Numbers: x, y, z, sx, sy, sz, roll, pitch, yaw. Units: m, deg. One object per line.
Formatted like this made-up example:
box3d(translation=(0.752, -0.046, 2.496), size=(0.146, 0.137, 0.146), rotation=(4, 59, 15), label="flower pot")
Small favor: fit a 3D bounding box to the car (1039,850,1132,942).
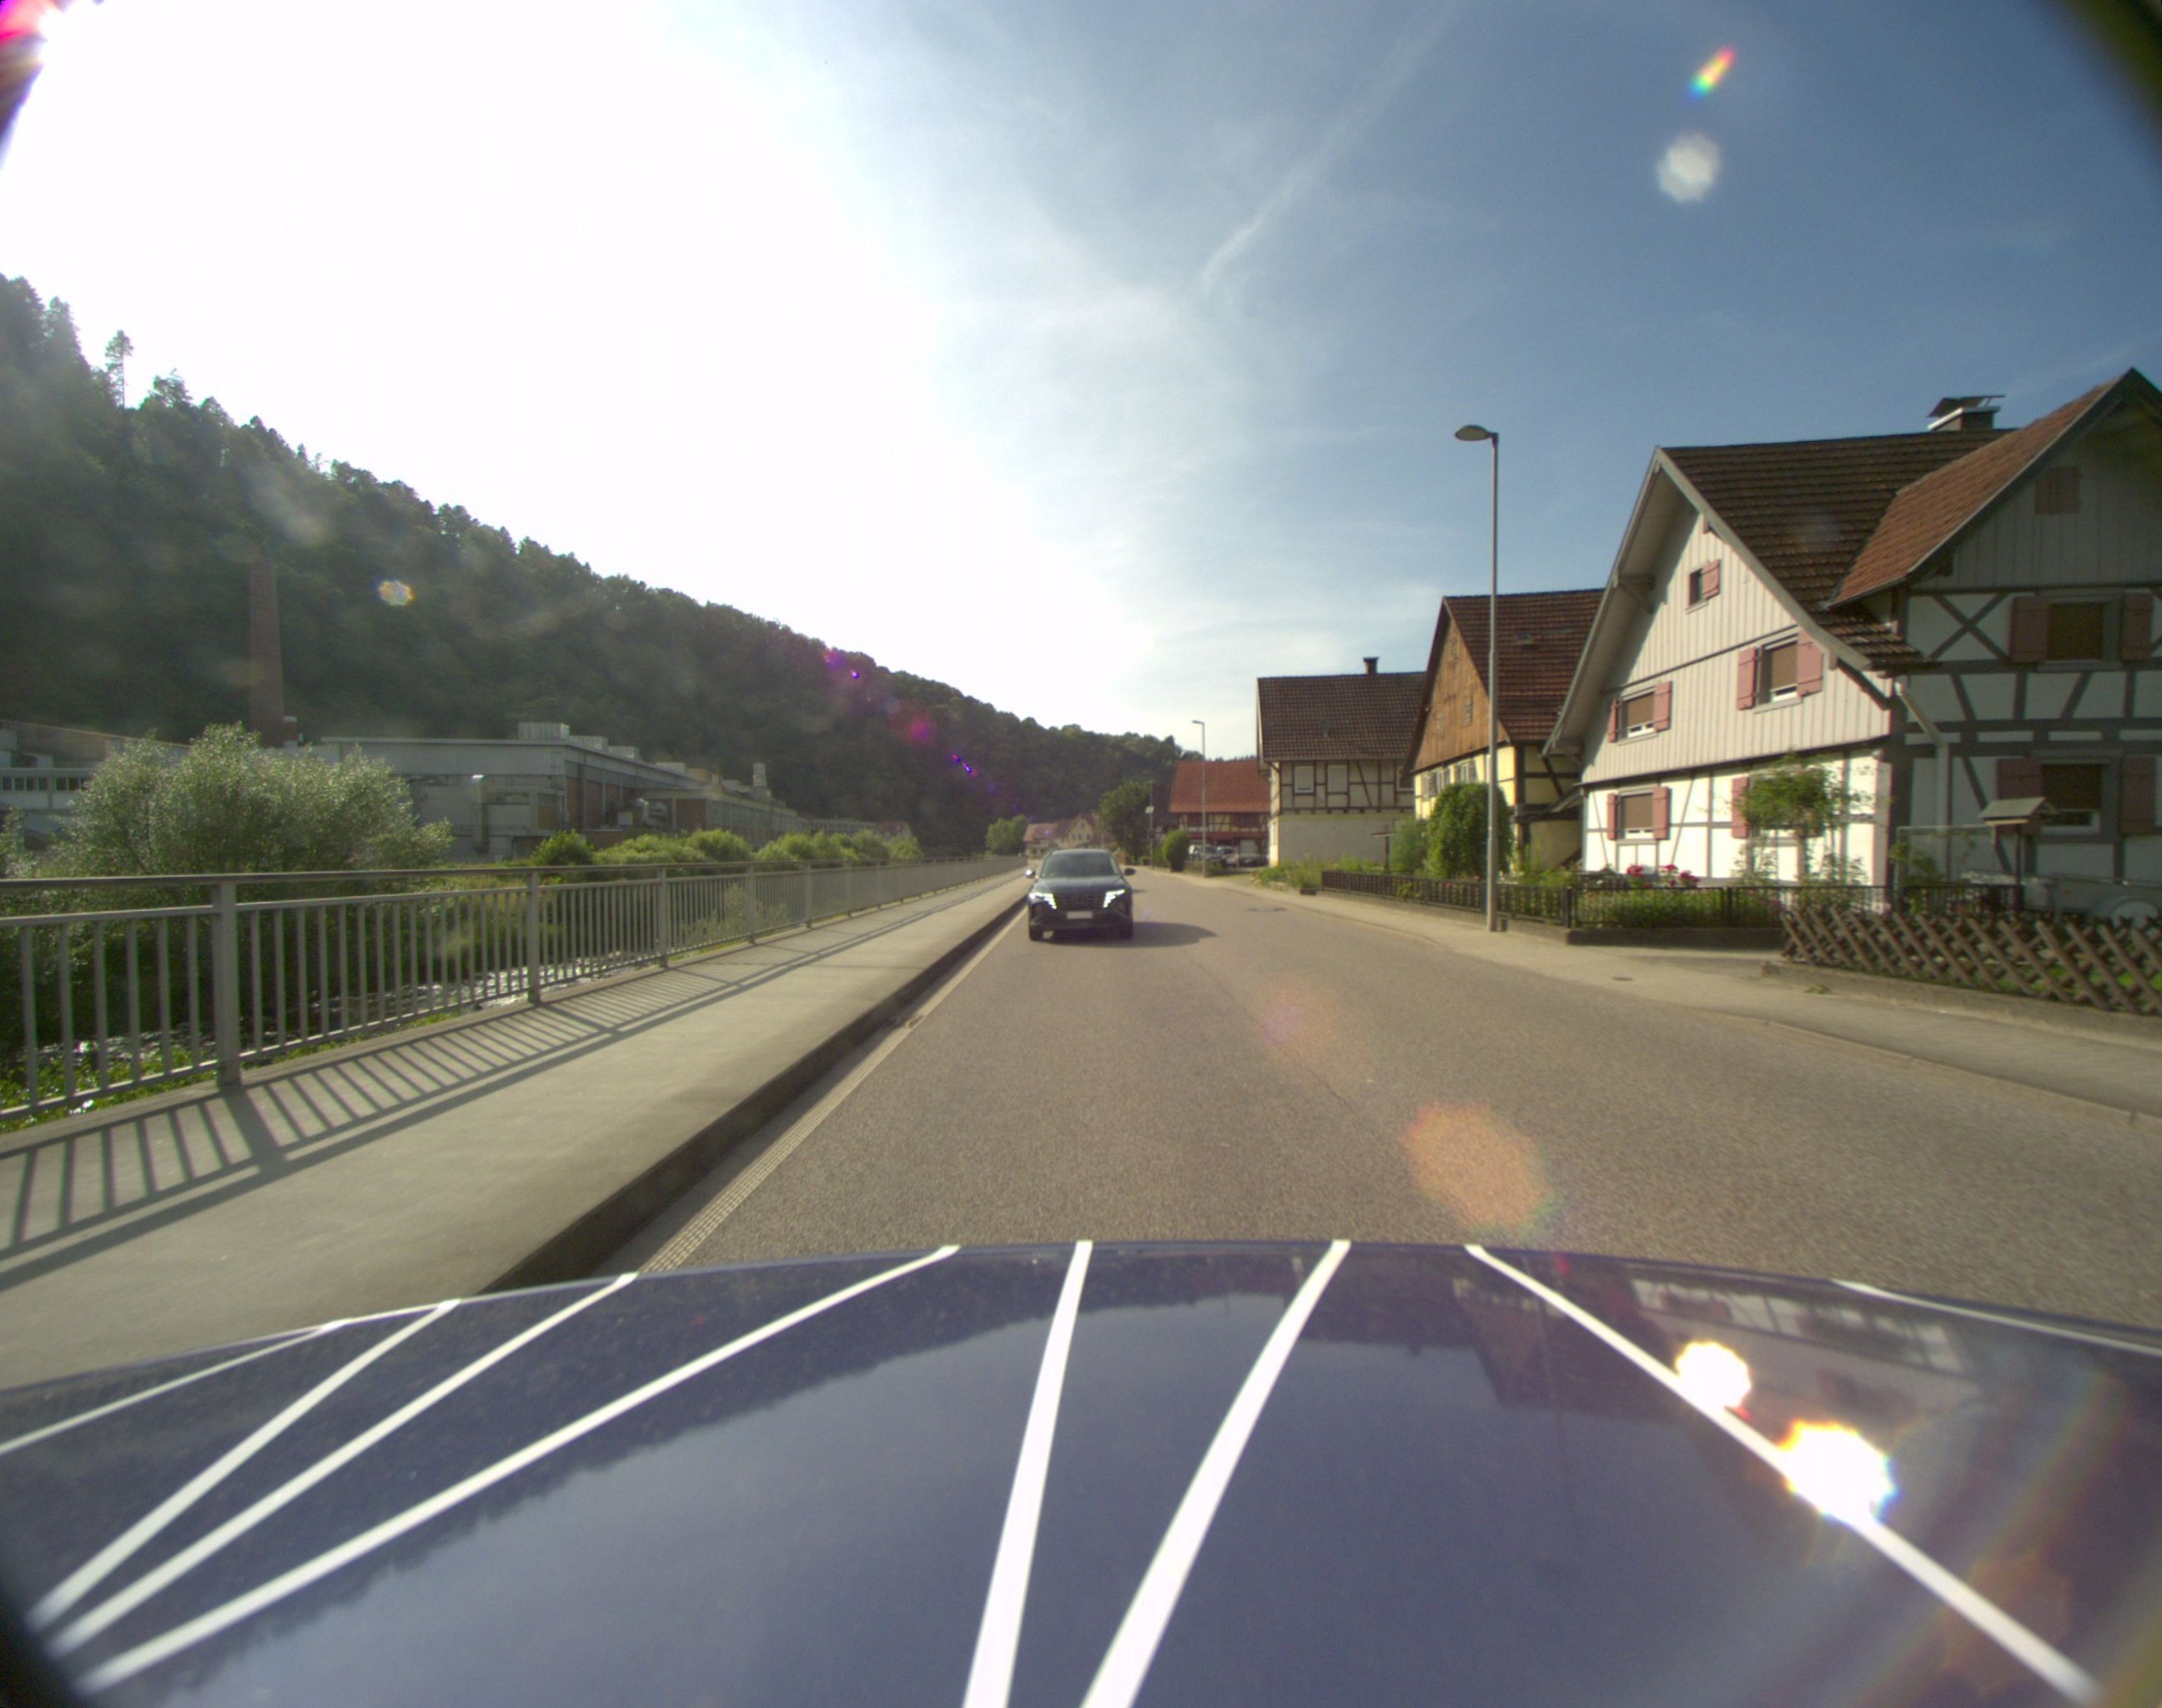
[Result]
box3d(translation=(0.036, 0.762, 16.019), size=(1.649, 1.639, 3.999), rotation=(-2, 0, -1), label="car")
